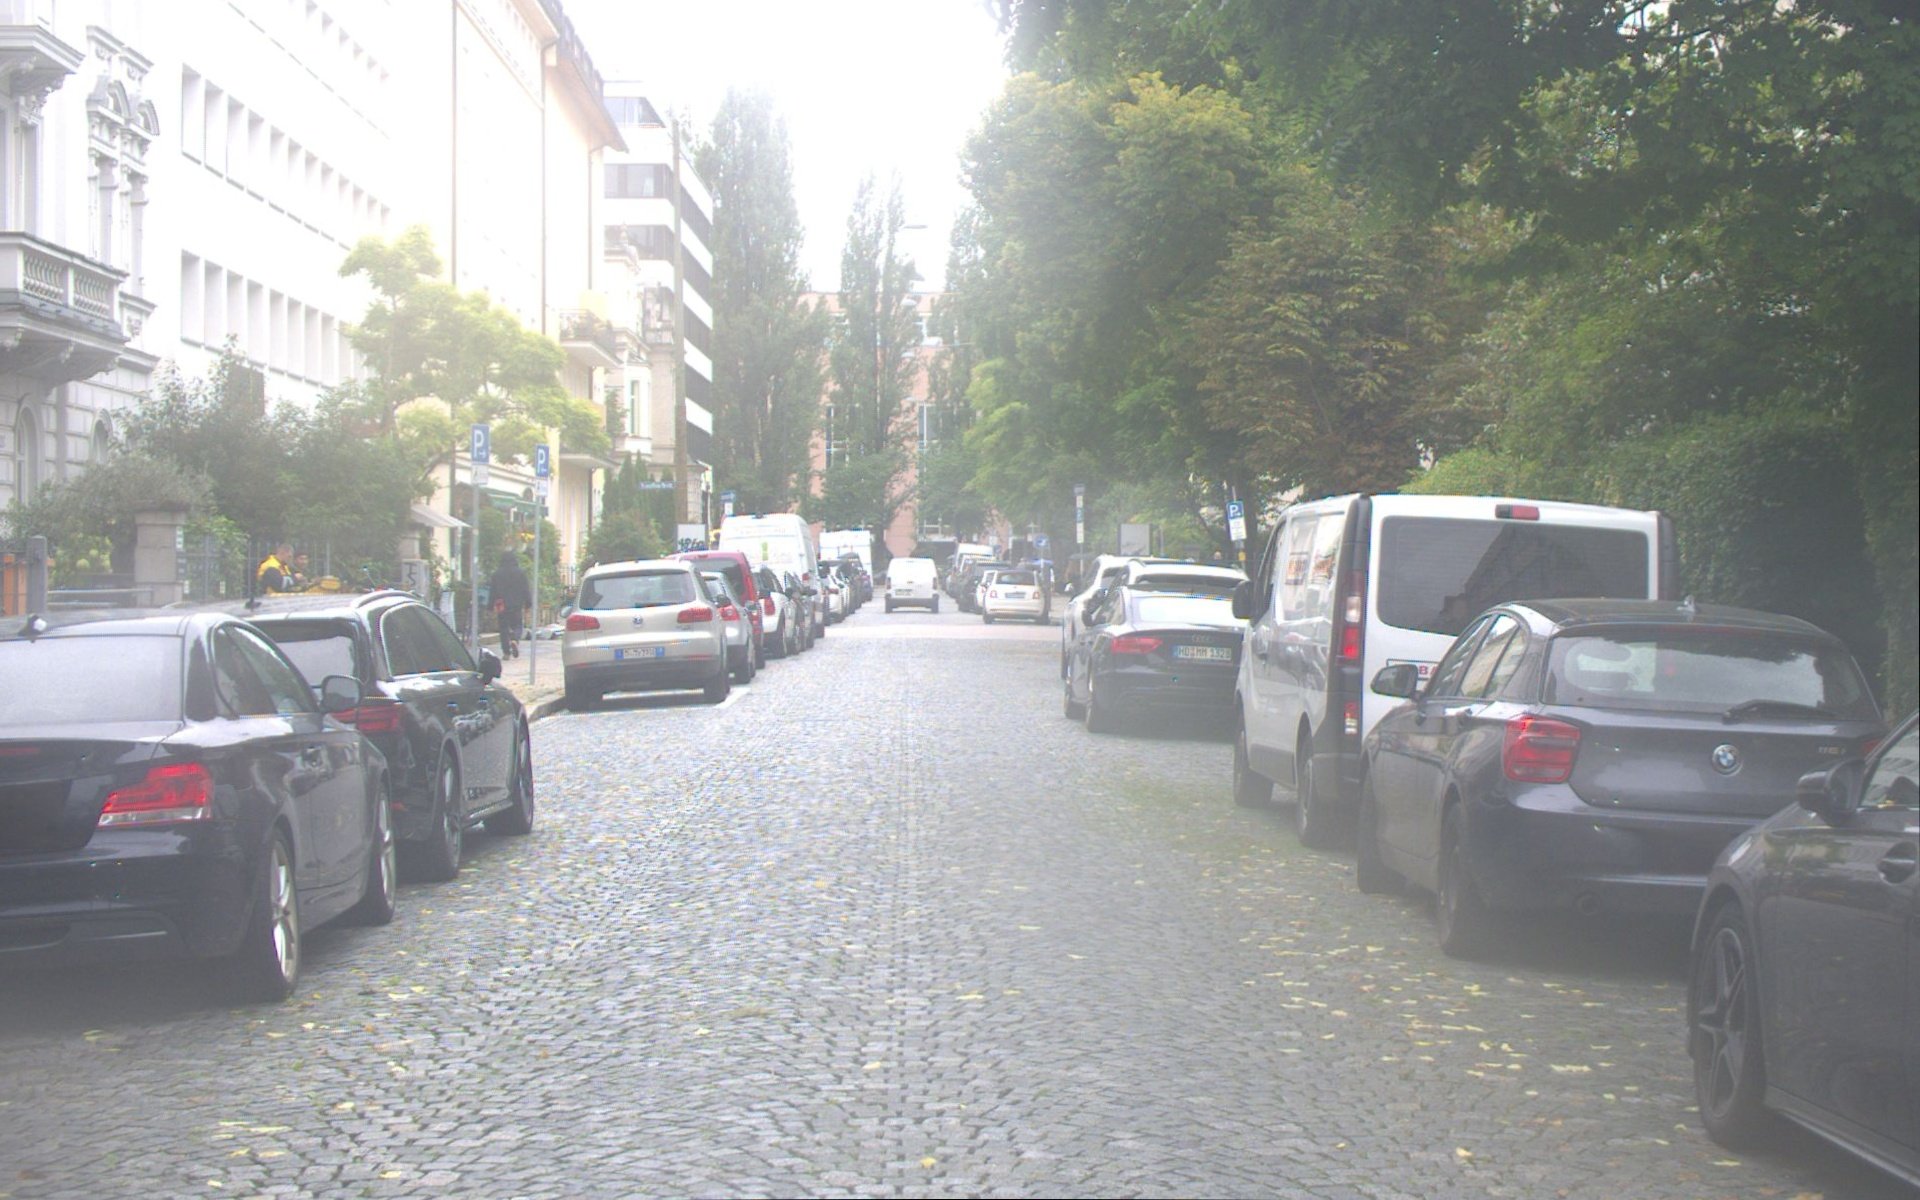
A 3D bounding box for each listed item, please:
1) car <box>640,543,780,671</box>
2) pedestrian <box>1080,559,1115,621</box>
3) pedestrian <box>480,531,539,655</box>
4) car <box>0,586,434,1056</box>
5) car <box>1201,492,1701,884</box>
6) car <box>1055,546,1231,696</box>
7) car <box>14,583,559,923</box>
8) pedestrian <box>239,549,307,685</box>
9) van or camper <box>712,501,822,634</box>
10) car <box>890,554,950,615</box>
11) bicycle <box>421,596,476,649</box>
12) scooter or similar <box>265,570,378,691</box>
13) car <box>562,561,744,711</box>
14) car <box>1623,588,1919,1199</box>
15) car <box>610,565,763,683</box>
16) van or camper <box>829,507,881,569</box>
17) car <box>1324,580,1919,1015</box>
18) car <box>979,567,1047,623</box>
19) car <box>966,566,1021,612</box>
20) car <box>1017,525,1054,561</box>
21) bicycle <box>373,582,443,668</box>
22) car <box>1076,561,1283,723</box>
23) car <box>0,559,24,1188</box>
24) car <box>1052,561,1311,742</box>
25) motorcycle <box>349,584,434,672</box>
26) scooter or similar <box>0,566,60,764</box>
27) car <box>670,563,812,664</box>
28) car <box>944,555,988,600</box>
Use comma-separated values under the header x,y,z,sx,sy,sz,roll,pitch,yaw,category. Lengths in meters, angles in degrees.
x,y,z,sx,sy,sz,roll,pitch,yaw,category
-3.785,0.081,52.651,1.873,1.770,4.123,-3,1,-2,car
4.450,-0.324,111.312,0.856,2.007,0.991,0,0,-18,pedestrian
-7.026,-0.116,53.662,0.792,1.911,0.759,1,0,-1,pedestrian
-3.219,0.720,13.149,1.783,1.412,4.497,-3,1,-2,car
2.697,0.423,20.168,1.873,1.922,5.165,3,0,-3,car
2.292,0.235,44.173,1.873,1.727,4.593,3,0,-1,car
-3.337,0.691,17.922,1.887,1.412,4.407,-3,1,0,car
-8.594,0.209,43.042,0.717,1.682,0.695,0,0,-1,pedestrian
-4.047,-0.682,72.815,1.993,2.643,4.000,-3,1,0,van or camper
-1.338,-0.543,116.143,1.993,2.007,4.000,0,1,0,car
-8.454,0.363,56.867,0.502,0.836,2.089,0,1,3,bicycle
-7.878,0.351,42.540,0.941,1.437,2.657,0,1,-1,scooter or similar
-3.529,0.374,40.186,1.873,1.574,4.256,-3,1,-3,car
2.820,0.761,7.565,1.713,1.467,4.269,3,0,-2,car
-3.634,0.287,46.217,1.873,1.446,4.208,-2,1,-3,car
-4.779,-2.818,157.383,2.256,2.733,5.098,1,1,0,van or camper
2.728,0.704,14.640,1.837,1.485,4.421,3,0,0,car
1.421,-0.152,93.892,1.790,1.515,4.000,0,1,0,car
1.100,-0.377,114.572,1.790,1.515,4.000,0,1,0,car
4.297,-3.230,196.786,1.993,2.007,4.000,0,0,0,car
-8.084,0.349,50.247,0.655,1.217,2.090,0,1,-19,bicycle
2.341,0.413,37.590,1.817,1.574,4.208,3,0,-1,car
-2.919,0.657,5.989,1.662,1.439,4.172,-1,1,-4,car
1.996,0.428,32.273,1.873,1.498,4.512,3,0,-3,car
-7.942,0.380,48.082,0.623,1.192,1.864,0,0,8,motorcycle
-7.525,0.467,25.728,0.941,1.437,2.657,1,1,-2,scooter or similar
-3.643,0.202,57.870,1.873,1.574,4.207,2,0,3,car
0.272,-1.042,157.831,1.993,2.007,4.000,1,1,0,car
